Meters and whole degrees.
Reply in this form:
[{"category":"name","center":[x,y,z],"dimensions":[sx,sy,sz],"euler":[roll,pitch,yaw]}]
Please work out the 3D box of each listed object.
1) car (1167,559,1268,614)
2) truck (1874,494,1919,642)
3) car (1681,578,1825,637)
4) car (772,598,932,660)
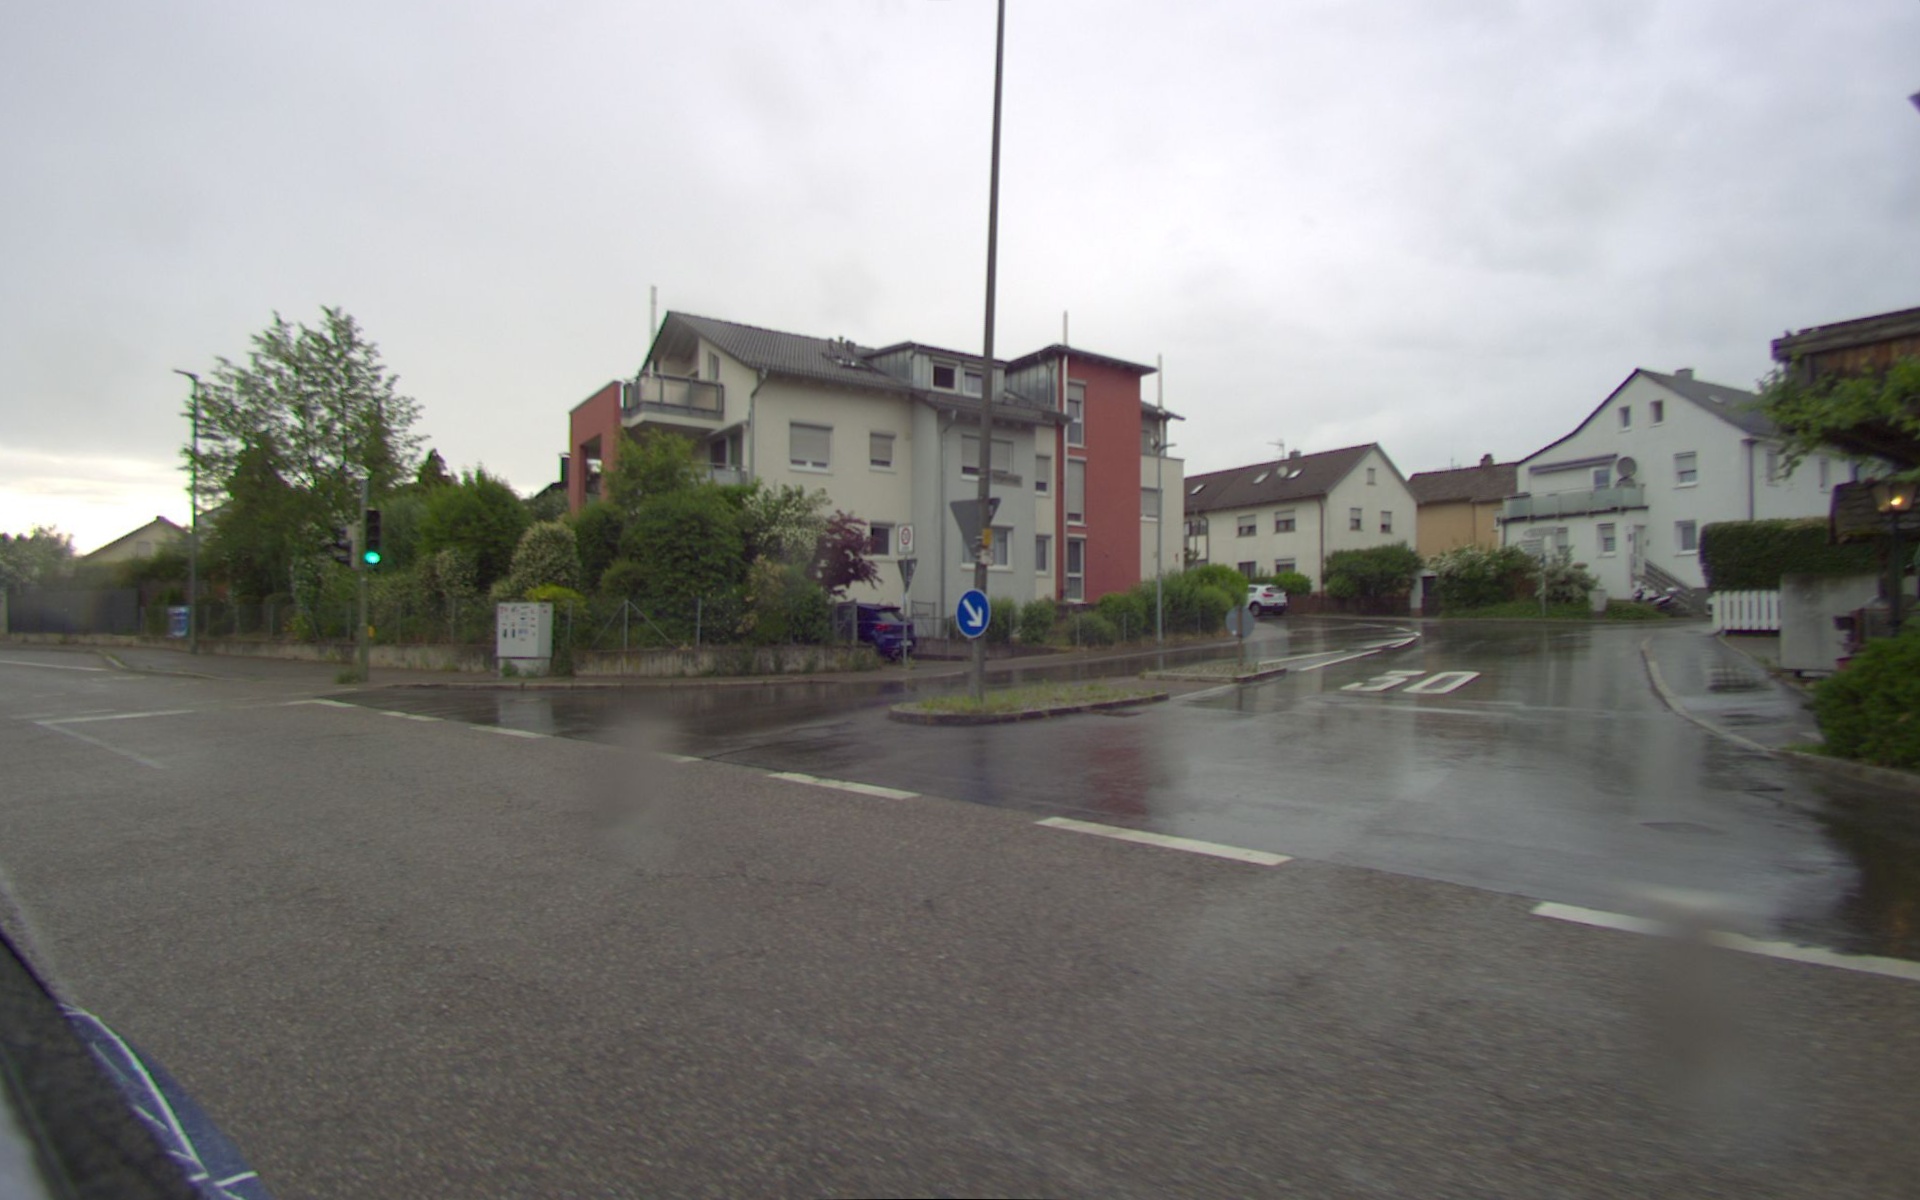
[{"category":"car","center":[10.236,-0.477,40.506],"dimensions":[1.909,2.029,3.845],"euler":[1,-1,-26]},{"category":"truck","center":[18.633,-0.581,17.526],"dimensions":[1.752,2.633,3.854],"euler":[1,-2,-36]},{"category":"car","center":[28.421,0.272,36.304],"dimensions":[3.933,1.748,2.006],"euler":[-5,0,-16]},{"category":"car","center":[-2.687,0.707,25.185],"dimensions":[3.610,1.432,1.761],"euler":[0,-2,28]}]
